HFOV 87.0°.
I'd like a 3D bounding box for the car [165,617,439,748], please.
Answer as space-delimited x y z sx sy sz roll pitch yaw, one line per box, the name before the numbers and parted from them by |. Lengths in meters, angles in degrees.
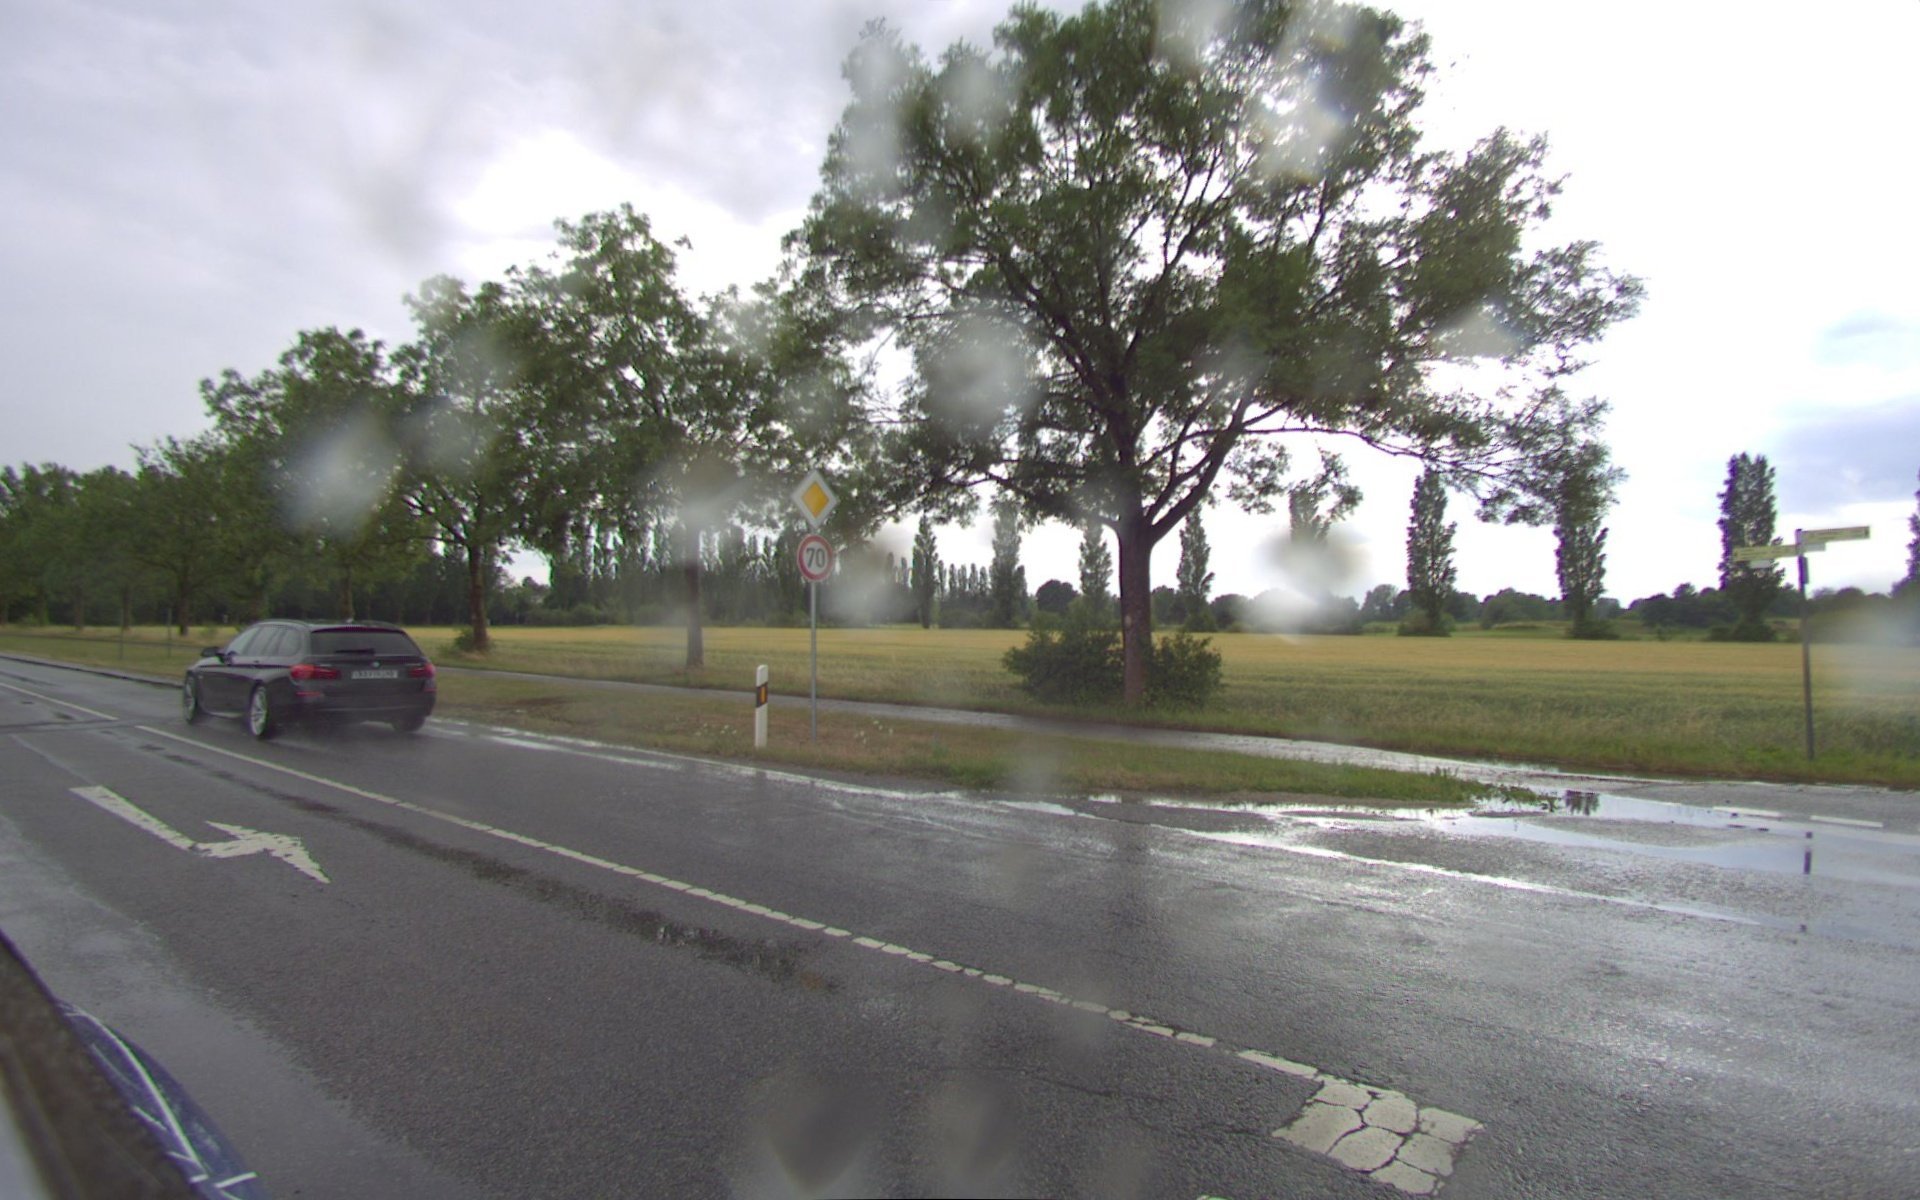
car | -8.769 0.979 13.341 4.409 1.449 1.748 -1 -3 39
